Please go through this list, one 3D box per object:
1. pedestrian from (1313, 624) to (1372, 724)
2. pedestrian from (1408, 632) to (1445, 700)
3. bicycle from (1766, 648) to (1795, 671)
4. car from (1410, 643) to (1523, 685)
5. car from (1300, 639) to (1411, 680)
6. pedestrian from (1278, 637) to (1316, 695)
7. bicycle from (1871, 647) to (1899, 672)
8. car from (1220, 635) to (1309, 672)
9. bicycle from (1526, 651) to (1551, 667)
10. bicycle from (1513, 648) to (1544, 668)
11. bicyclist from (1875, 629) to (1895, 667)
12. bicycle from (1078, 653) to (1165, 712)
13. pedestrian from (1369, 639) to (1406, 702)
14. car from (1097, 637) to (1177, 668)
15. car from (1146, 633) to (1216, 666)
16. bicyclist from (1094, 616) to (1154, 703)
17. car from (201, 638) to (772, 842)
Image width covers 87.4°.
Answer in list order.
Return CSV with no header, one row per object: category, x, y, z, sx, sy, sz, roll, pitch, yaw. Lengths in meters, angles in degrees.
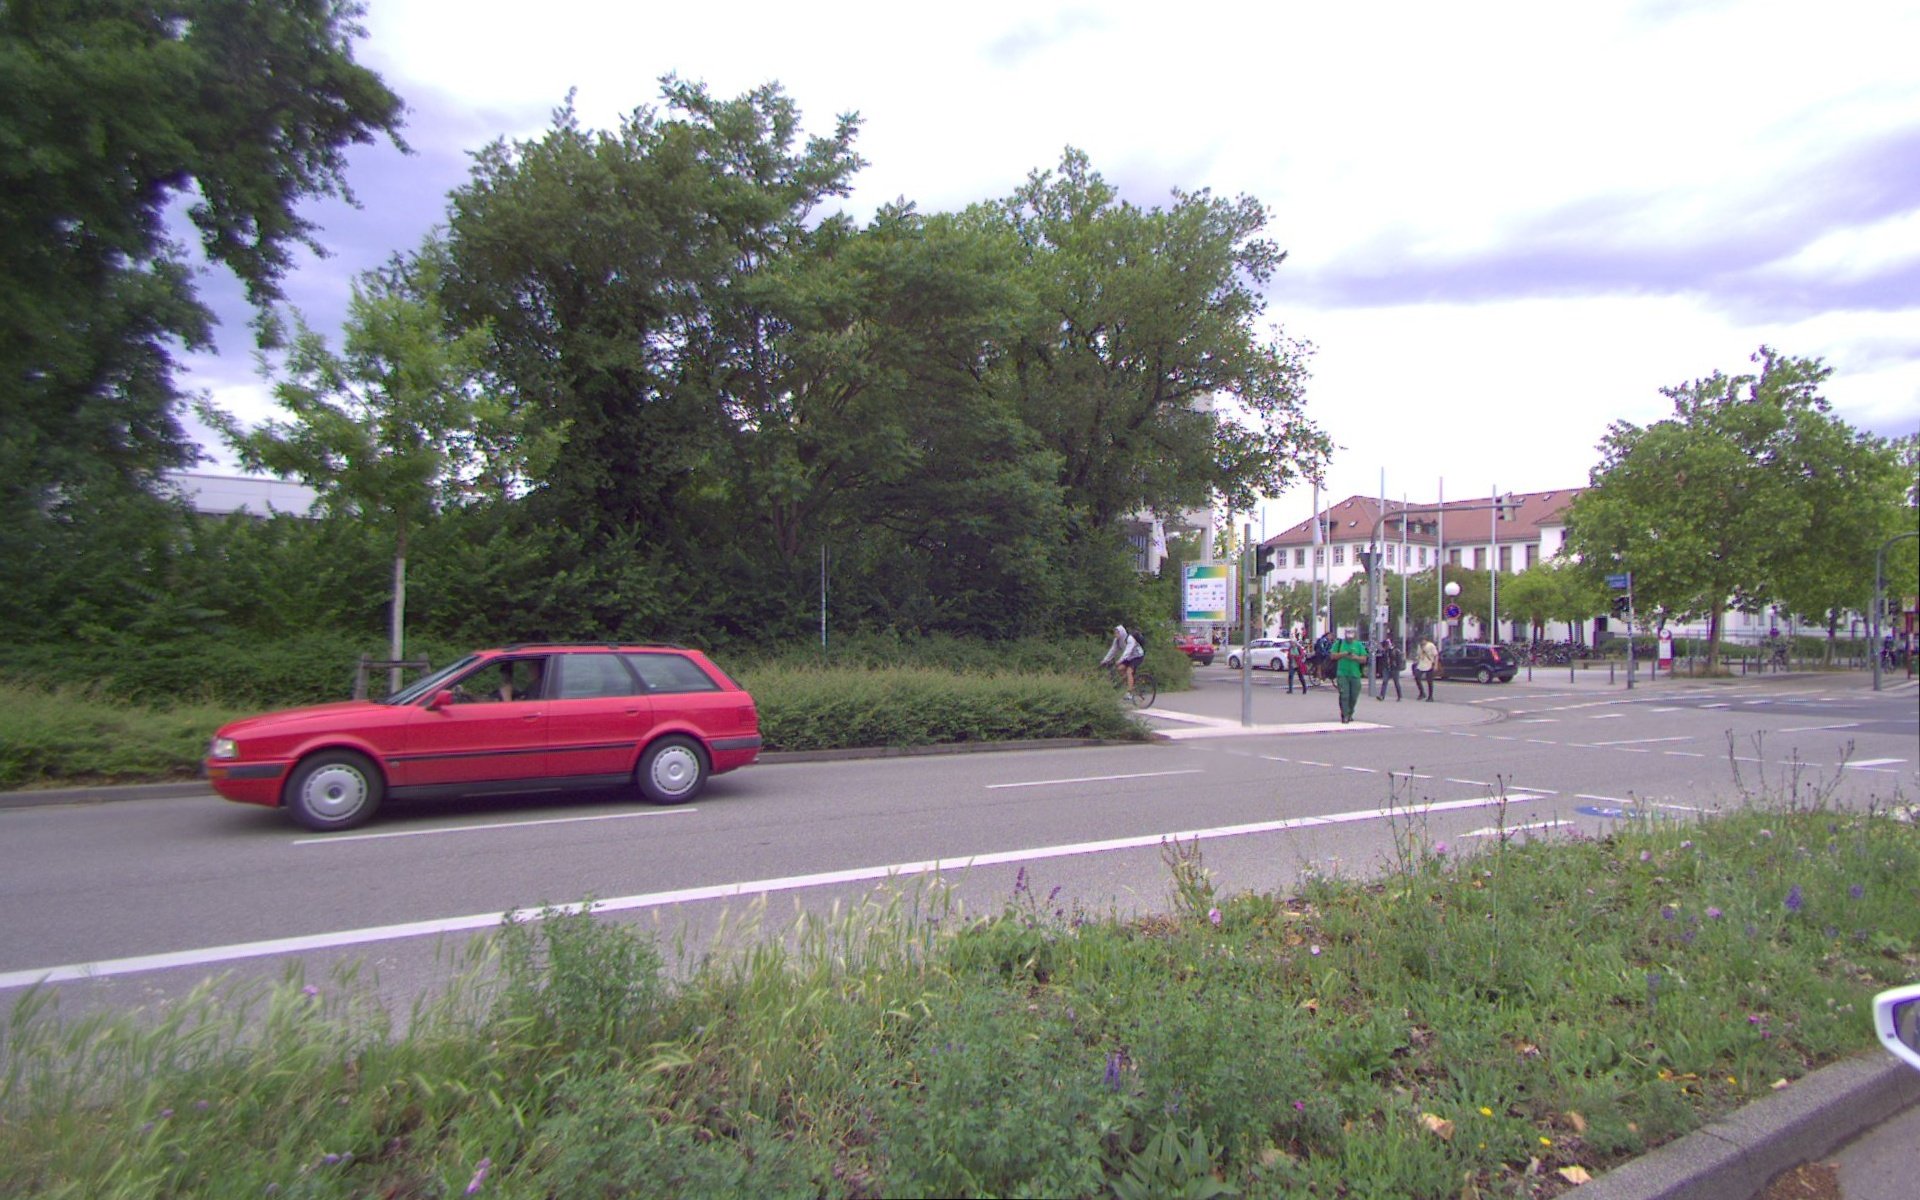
pedestrian,7.172,1.367,18.880,0.924,1.782,0.876,2,-1,16
pedestrian,12.654,1.798,27.221,0.827,1.761,0.830,0,-5,30
bicycle,41.032,2.972,50.225,2.025,1.074,0.603,1,-3,-37
car,19.712,2.458,39.205,1.548,1.240,3.630,-7,4,-35
car,16.732,2.497,42.598,4.006,1.472,1.613,-2,3,43
pedestrian,9.367,1.834,27.891,0.840,1.545,0.567,6,-6,-32
bicycle,41.077,2.624,44.618,1.571,1.019,0.485,0,1,-31
car,14.383,2.504,47.578,1.667,1.560,3.857,-1,0,-32
bicycle,32.662,3.316,56.683,1.191,0.892,0.263,-2,-3,38
bicycle,31.937,3.253,56.434,1.385,1.066,0.586,-3,-3,41
bicyclist,41.074,2.135,44.609,0.581,1.647,0.488,0,1,-30
bicycle,3.183,1.606,19.809,1.596,1.076,0.664,1,0,-24
pedestrian,11.050,1.829,25.979,0.776,1.578,0.700,2,-4,16
car,8.656,2.597,49.455,1.688,1.450,4.199,1,-3,-27
car,11.349,2.504,51.738,1.547,1.499,3.322,1,0,-36
bicyclist,3.233,1.154,19.824,0.948,1.657,0.664,1,0,-24
car,-3.993,1.071,8.985,4.244,1.437,1.706,1,-2,-31
